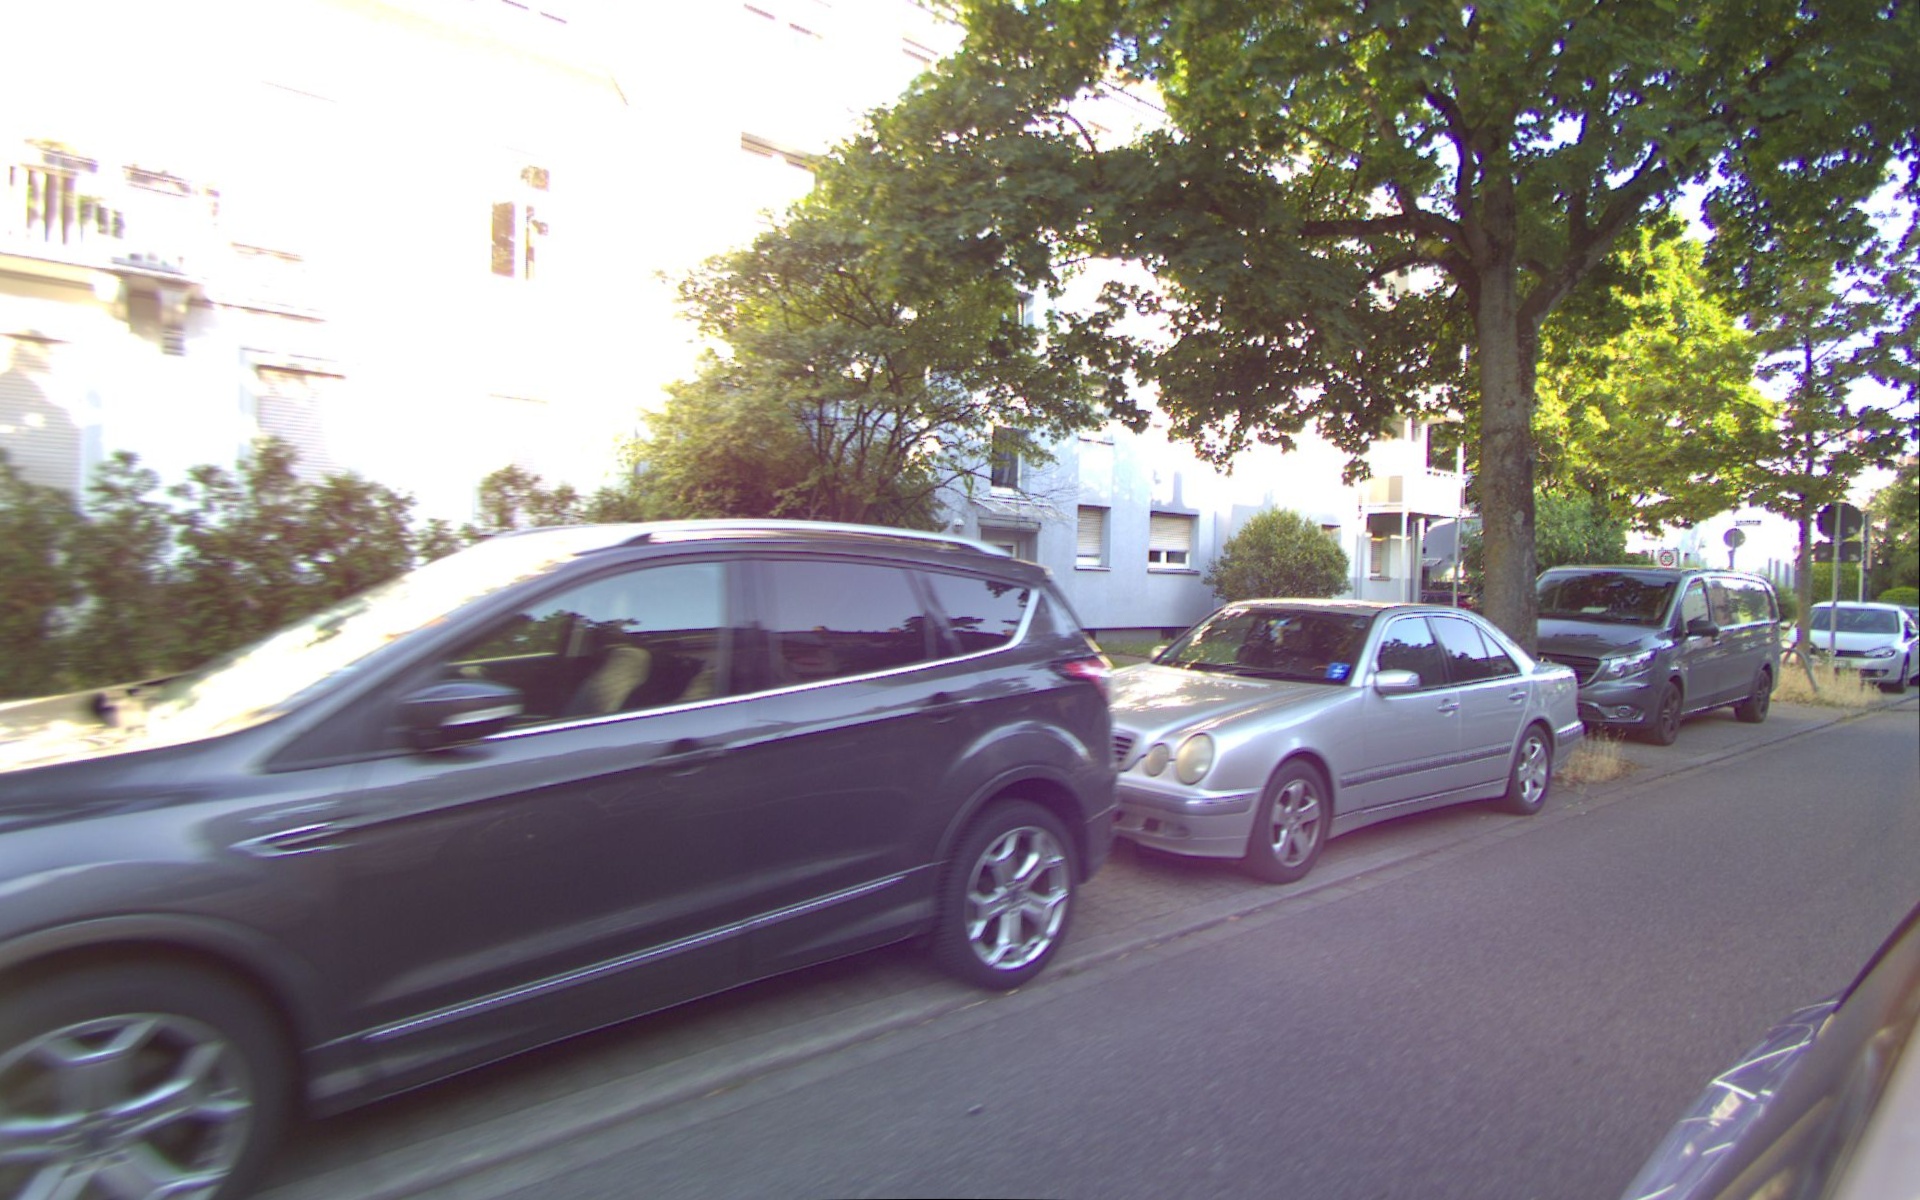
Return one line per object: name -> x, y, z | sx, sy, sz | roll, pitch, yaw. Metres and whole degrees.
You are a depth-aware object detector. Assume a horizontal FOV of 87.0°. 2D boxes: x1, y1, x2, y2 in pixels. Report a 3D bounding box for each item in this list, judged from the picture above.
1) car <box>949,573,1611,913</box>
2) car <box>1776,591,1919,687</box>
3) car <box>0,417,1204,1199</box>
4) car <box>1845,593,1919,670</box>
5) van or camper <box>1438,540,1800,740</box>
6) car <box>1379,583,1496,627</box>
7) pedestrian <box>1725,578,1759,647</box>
car -> 2.363, 0.630, 6.733 | 4.741, 1.522, 1.789 | 0, 1, -37
car -> 16.221, 0.629, 18.090 | 4.228, 1.461, 1.738 | 1, 2, -40
car -> -1.351, 0.445, 3.609 | 4.624, 1.702, 1.921 | 0, 3, -40
car -> 20.271, 0.640, 21.360 | 4.262, 1.461, 1.738 | 1, 2, -40
van or camper -> 7.872, 0.396, 11.861 | 5.163, 1.865, 1.999 | 2, 1, -39
car -> 19.783, 0.163, 42.047 | 3.989, 1.574, 1.969 | 2, 4, 45
pedestrian -> 20.252, 0.313, 26.209 | 0.398, 1.749, 0.593 | 0, 1, -39
